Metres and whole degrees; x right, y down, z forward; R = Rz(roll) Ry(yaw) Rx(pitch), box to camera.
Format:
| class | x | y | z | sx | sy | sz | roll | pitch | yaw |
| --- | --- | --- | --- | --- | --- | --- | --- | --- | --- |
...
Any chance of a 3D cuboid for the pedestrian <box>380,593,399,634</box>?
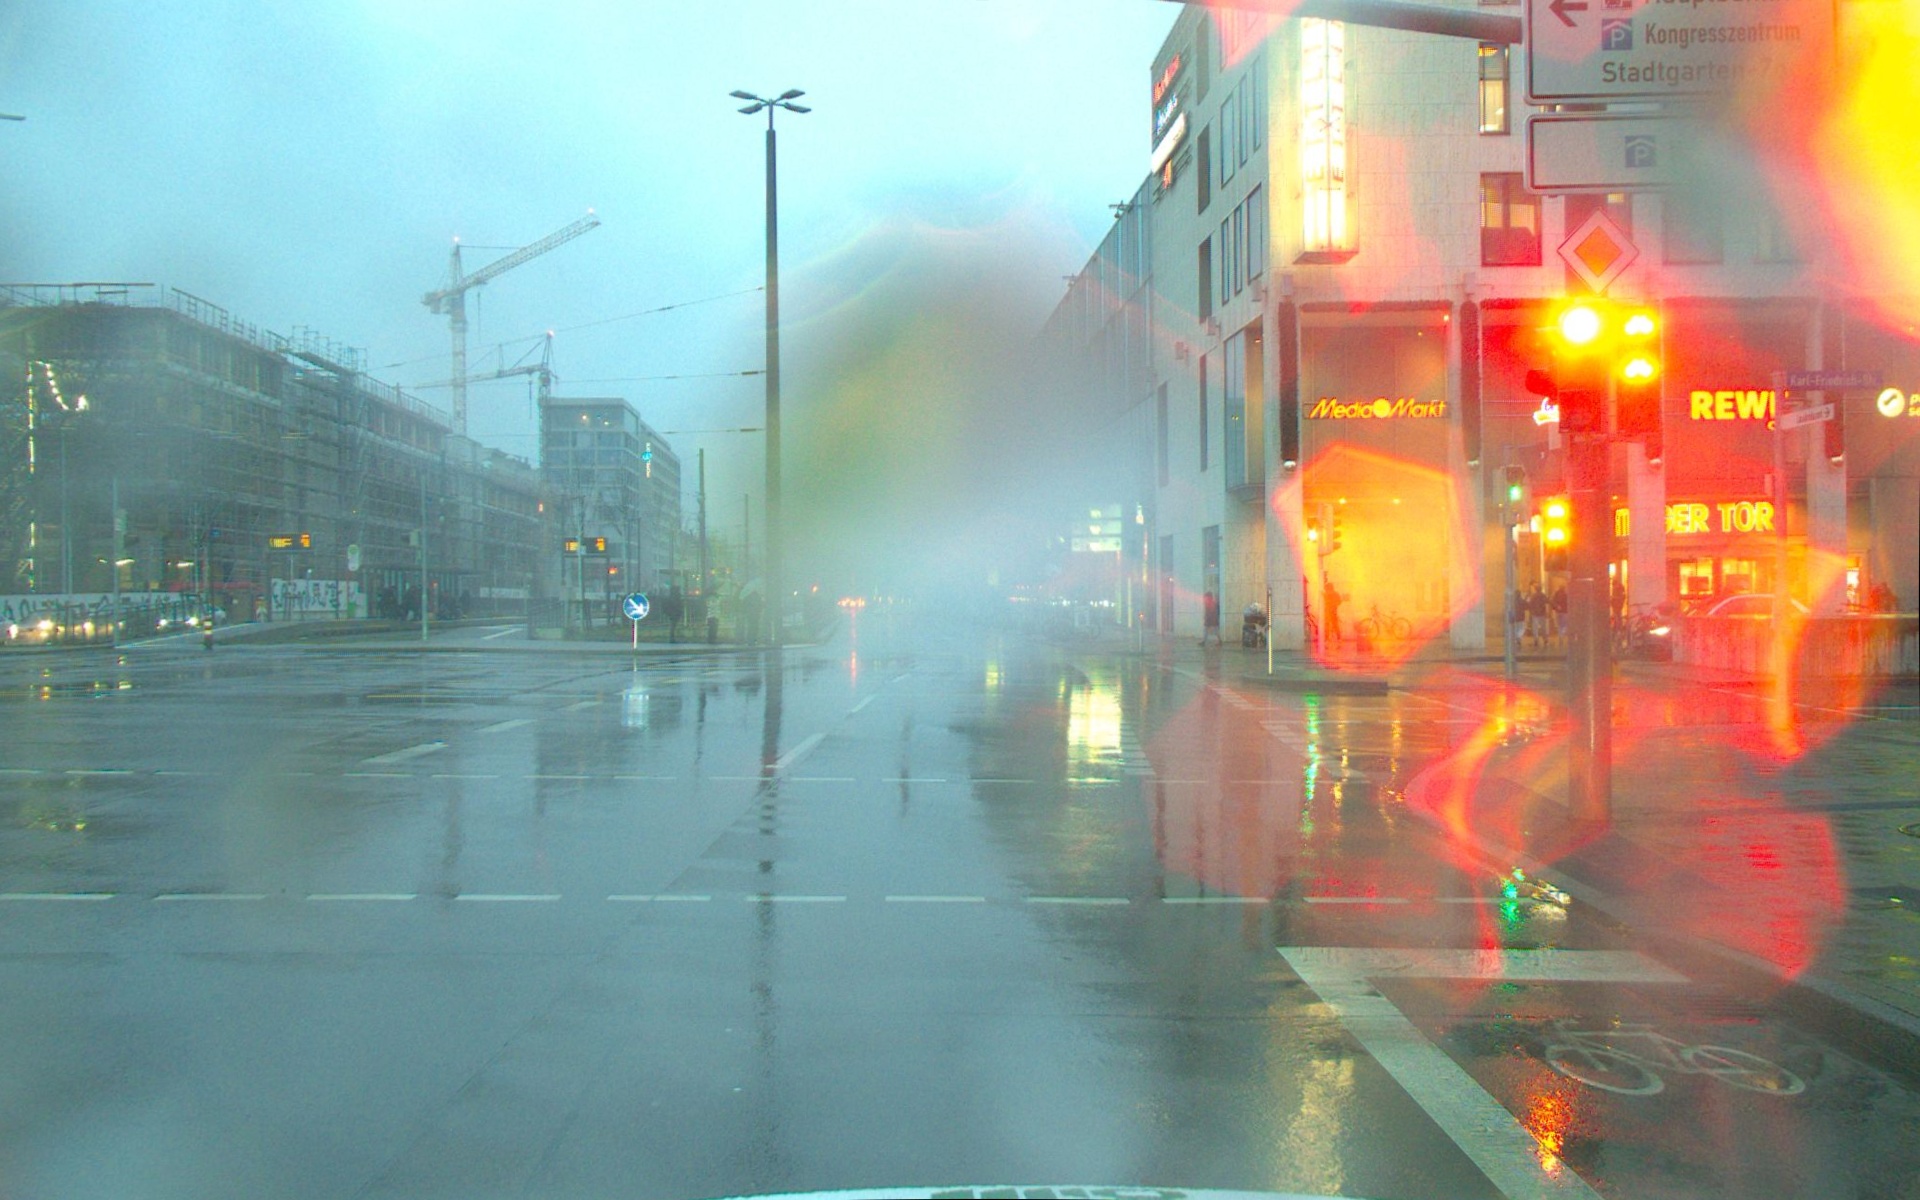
| class | x | y | z | sx | sy | sz | roll | pitch | yaw |
| --- | --- | --- | --- | --- | --- | --- | --- | --- | --- |
| pedestrian | -26.489 | 0.629 | 76.787 | 0.684 | 1.913 | 0.553 | 1 | -1 | -2 |

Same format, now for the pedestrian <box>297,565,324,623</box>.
| class | x | y | z | sx | sy | sz | roll | pitch | yaw |
| --- | --- | --- | --- | --- | --- | --- | --- | --- | --- |
| pedestrian | -26.828 | -0.230 | 68.307 | 0.750 | 2.364 | 0.762 | 1 | -2 | -1 |

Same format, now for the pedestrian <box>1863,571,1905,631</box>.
| class | x | y | z | sx | sy | sz | roll | pitch | yaw |
| --- | --- | --- | --- | --- | --- | --- | --- | --- | --- |
| pedestrian | 26.864 | 0.028 | 48.101 | 0.875 | 1.714 | 0.528 | -1 | -1 | -1 |

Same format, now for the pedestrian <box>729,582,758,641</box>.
| class | x | y | z | sx | sy | sz | roll | pitch | yaw |
| --- | --- | --- | --- | --- | --- | --- | --- | --- | --- |
| pedestrian | -6.259 | 0.332 | 47.858 | 0.601 | 1.715 | 0.575 | 0 | -1 | 41 |

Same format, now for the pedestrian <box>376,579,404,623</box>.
| class | x | y | z | sx | sy | sz | roll | pitch | yaw |
| --- | --- | --- | --- | --- | --- | --- | --- | --- | --- |
| pedestrian | -26.851 | 0.067 | 77.927 | 0.923 | 2.049 | 1.093 | 1 | 0 | -3 |

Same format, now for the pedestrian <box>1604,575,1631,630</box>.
| class | x | y | z | sx | sy | sz | roll | pitch | yaw |
| --- | --- | --- | --- | --- | --- | --- | --- | --- | --- |
| pedestrian | 20.974 | 0.078 | 52.755 | 0.721 | 1.748 | 0.738 | -1 | -1 | 27 |

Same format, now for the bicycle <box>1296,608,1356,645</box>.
| class | x | y | z | sx | sy | sz | roll | pitch | yaw |
| --- | --- | --- | --- | --- | --- | --- | --- | --- | --- |
| bicycle | 11.243 | 0.814 | 50.844 | 1.734 | 1.088 | 0.523 | 1 | -1 | -9 |

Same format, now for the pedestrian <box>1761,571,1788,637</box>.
| class | x | y | z | sx | sy | sz | roll | pitch | yaw |
| --- | --- | --- | --- | --- | --- | --- | --- | --- | --- |
| pedestrian | 23.322 | 0.112 | 47.360 | 0.540 | 1.858 | 0.361 | -1 | -1 | 0 |

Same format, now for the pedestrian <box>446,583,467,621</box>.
| class | x | y | z | sx | sy | sz | roll | pitch | yaw |
| --- | --- | --- | --- | --- | --- | --- | --- | --- | --- |
| pedestrian | -27.698 | 0.106 | 90.922 | 0.925 | 2.049 | 1.091 | 1 | -1 | -10 |

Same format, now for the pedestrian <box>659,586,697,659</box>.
| class | x | y | z | sx | sy | sz | roll | pitch | yaw |
| --- | --- | --- | --- | --- | --- | --- | --- | --- | --- |
| pedestrian | -8.054 | 0.633 | 47.251 | 0.771 | 2.049 | 0.724 | 0 | -1 | 41 |

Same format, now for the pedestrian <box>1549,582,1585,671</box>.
| class | x | y | z | sx | sy | sz | roll | pitch | yaw |
| --- | --- | --- | --- | --- | --- | --- | --- | --- | --- |
| pedestrian | 17.258 | 0.755 | 47.036 | 0.679 | 2.491 | 0.791 | 1 | -1 | -1 |

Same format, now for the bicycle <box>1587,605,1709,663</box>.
| class | x | y | z | sx | sy | sz | roll | pitch | yaw |
| --- | --- | --- | --- | --- | --- | --- | --- | --- | --- |
| bicycle | 17.195 | 0.839 | 41.352 | 2.659 | 1.383 | 0.957 | -1 | -1 | -4 |

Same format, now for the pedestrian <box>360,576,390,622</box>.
| class | x | y | z | sx | sy | sz | roll | pitch | yaw |
| --- | --- | --- | --- | --- | --- | --- | --- | --- | --- |
| pedestrian | -26.762 | -0.041 | 75.675 | 0.923 | 2.049 | 1.093 | 1 | 0 | -2 |

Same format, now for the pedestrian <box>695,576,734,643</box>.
| class | x | y | z | sx | sy | sz | roll | pitch | yaw |
| --- | --- | --- | --- | --- | --- | --- | --- | --- | --- |
| pedestrian | -6.884 | 0.269 | 46.369 | 0.813 | 1.863 | 0.777 | 1 | -1 | -31 |

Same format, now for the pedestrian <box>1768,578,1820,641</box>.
| class | x | y | z | sx | sy | sz | roll | pitch | yaw |
| --- | --- | --- | --- | --- | --- | --- | --- | --- | --- |
| pedestrian | 23.280 | 0.267 | 46.196 | 1.009 | 1.713 | 0.824 | 1 | -1 | -1 |

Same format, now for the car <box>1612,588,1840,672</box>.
| class | x | y | z | sx | sy | sz | roll | pitch | yaw |
| --- | --- | --- | --- | --- | --- | --- | --- | --- | --- |
| car | 16.201 | 0.622 | 35.121 | 3.905 | 1.646 | 2.000 | 1 | 0 | 0 |

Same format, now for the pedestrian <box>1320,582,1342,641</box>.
| class | x | y | z | sx | sy | sz | roll | pitch | yaw |
| --- | --- | --- | --- | --- | --- | --- | --- | --- | --- |
| pedestrian | 11.242 | 0.345 | 50.147 | 0.587 | 1.775 | 0.525 | 1 | -1 | 7 |

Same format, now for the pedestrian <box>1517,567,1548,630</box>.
| class | x | y | z | sx | sy | sz | roll | pitch | yaw |
| --- | --- | --- | --- | --- | --- | --- | --- | --- | --- |
| pedestrian | 18.870 | -0.045 | 54.559 | 0.828 | 2.049 | 0.698 | -1 | 0 | 8 |

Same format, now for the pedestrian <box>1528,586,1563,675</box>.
| class | x | y | z | sx | sy | sz | roll | pitch | yaw |
| --- | --- | --- | --- | --- | --- | --- | --- | --- | --- |
| pedestrian | 16.468 | 0.846 | 46.554 | 0.675 | 2.484 | 0.758 | 1 | -1 | -1 |

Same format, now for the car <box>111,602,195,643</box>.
| class | x | y | z | sx | sy | sz | roll | pitch | yaw |
| --- | --- | --- | --- | --- | --- | --- | --- | --- | --- |
| car | -38.033 | 1.045 | 78.089 | 1.952 | 1.822 | 4.000 | 1 | 0 | 0 |

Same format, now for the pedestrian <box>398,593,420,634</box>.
| class | x | y | z | sx | sy | sz | roll | pitch | yaw |
| --- | --- | --- | --- | --- | --- | --- | --- | --- | --- |
| pedestrian | -26.314 | 0.667 | 79.008 | 0.750 | 1.931 | 0.762 | 1 | -2 | -1 |

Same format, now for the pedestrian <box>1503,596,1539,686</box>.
| class | x | y | z | sx | sy | sz | roll | pitch | yaw |
| --- | --- | --- | --- | --- | --- | --- | --- | --- | --- |
| pedestrian | 15.720 | 1.140 | 46.366 | 0.700 | 2.484 | 0.758 | 1 | -1 | -1 |

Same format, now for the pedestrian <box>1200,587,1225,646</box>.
| class | x | y | z | sx | sy | sz | roll | pitch | yaw |
| --- | --- | --- | --- | --- | --- | --- | --- | --- | --- |
| pedestrian | 7.538 | 0.500 | 49.292 | 0.624 | 1.739 | 0.573 | -1 | 0 | -2 |

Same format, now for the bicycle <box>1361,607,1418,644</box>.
| class | x | y | z | sx | sy | sz | roll | pitch | yaw |
| --- | --- | --- | --- | --- | --- | --- | --- | --- | --- |
| bicycle | 13.247 | 0.780 | 51.009 | 1.614 | 1.088 | 0.524 | 1 | -1 | -5 |

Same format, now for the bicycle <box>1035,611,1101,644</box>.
| class | x | y | z | sx | sy | sz | roll | pitch | yaw |
| --- | --- | --- | --- | --- | --- | --- | --- | --- | --- |
| bicycle | 4.021 | 1.024 | 61.631 | 2.393 | 1.174 | 0.674 | -1 | -1 | -2 |

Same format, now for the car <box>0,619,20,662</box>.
| class | x | y | z | sx | sy | sz | roll | pitch | yaw |
| --- | --- | --- | --- | --- | --- | --- | --- | --- | --- |
| car | -36.413 | 1.515 | 60.536 | 2.038 | 1.557 | 4.604 | -1 | 0 | -10 |

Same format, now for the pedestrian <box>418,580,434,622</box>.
| class | x | y | z | sx | sy | sz | roll | pitch | yaw |
| --- | --- | --- | --- | --- | --- | --- | --- | --- | --- |
| pedestrian | -25.970 | 0.048 | 80.476 | 0.559 | 2.002 | 0.664 | 2 | -1 | -7 |

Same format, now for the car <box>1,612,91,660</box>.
| class | x | y | z | sx | sy | sz | roll | pitch | yaw |
| --- | --- | --- | --- | --- | --- | --- | --- | --- | --- |
| car | -36.973 | 1.433 | 66.999 | 1.830 | 1.860 | 3.993 | 1 | 0 | -8 |

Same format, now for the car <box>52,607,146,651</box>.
| class | x | y | z | sx | sy | sz | roll | pitch | yaw |
| --- | --- | --- | --- | --- | --- | --- | --- | --- | --- |
| car | -37.712 | 1.246 | 72.544 | 1.952 | 1.822 | 4.000 | 1 | 0 | 0 |
